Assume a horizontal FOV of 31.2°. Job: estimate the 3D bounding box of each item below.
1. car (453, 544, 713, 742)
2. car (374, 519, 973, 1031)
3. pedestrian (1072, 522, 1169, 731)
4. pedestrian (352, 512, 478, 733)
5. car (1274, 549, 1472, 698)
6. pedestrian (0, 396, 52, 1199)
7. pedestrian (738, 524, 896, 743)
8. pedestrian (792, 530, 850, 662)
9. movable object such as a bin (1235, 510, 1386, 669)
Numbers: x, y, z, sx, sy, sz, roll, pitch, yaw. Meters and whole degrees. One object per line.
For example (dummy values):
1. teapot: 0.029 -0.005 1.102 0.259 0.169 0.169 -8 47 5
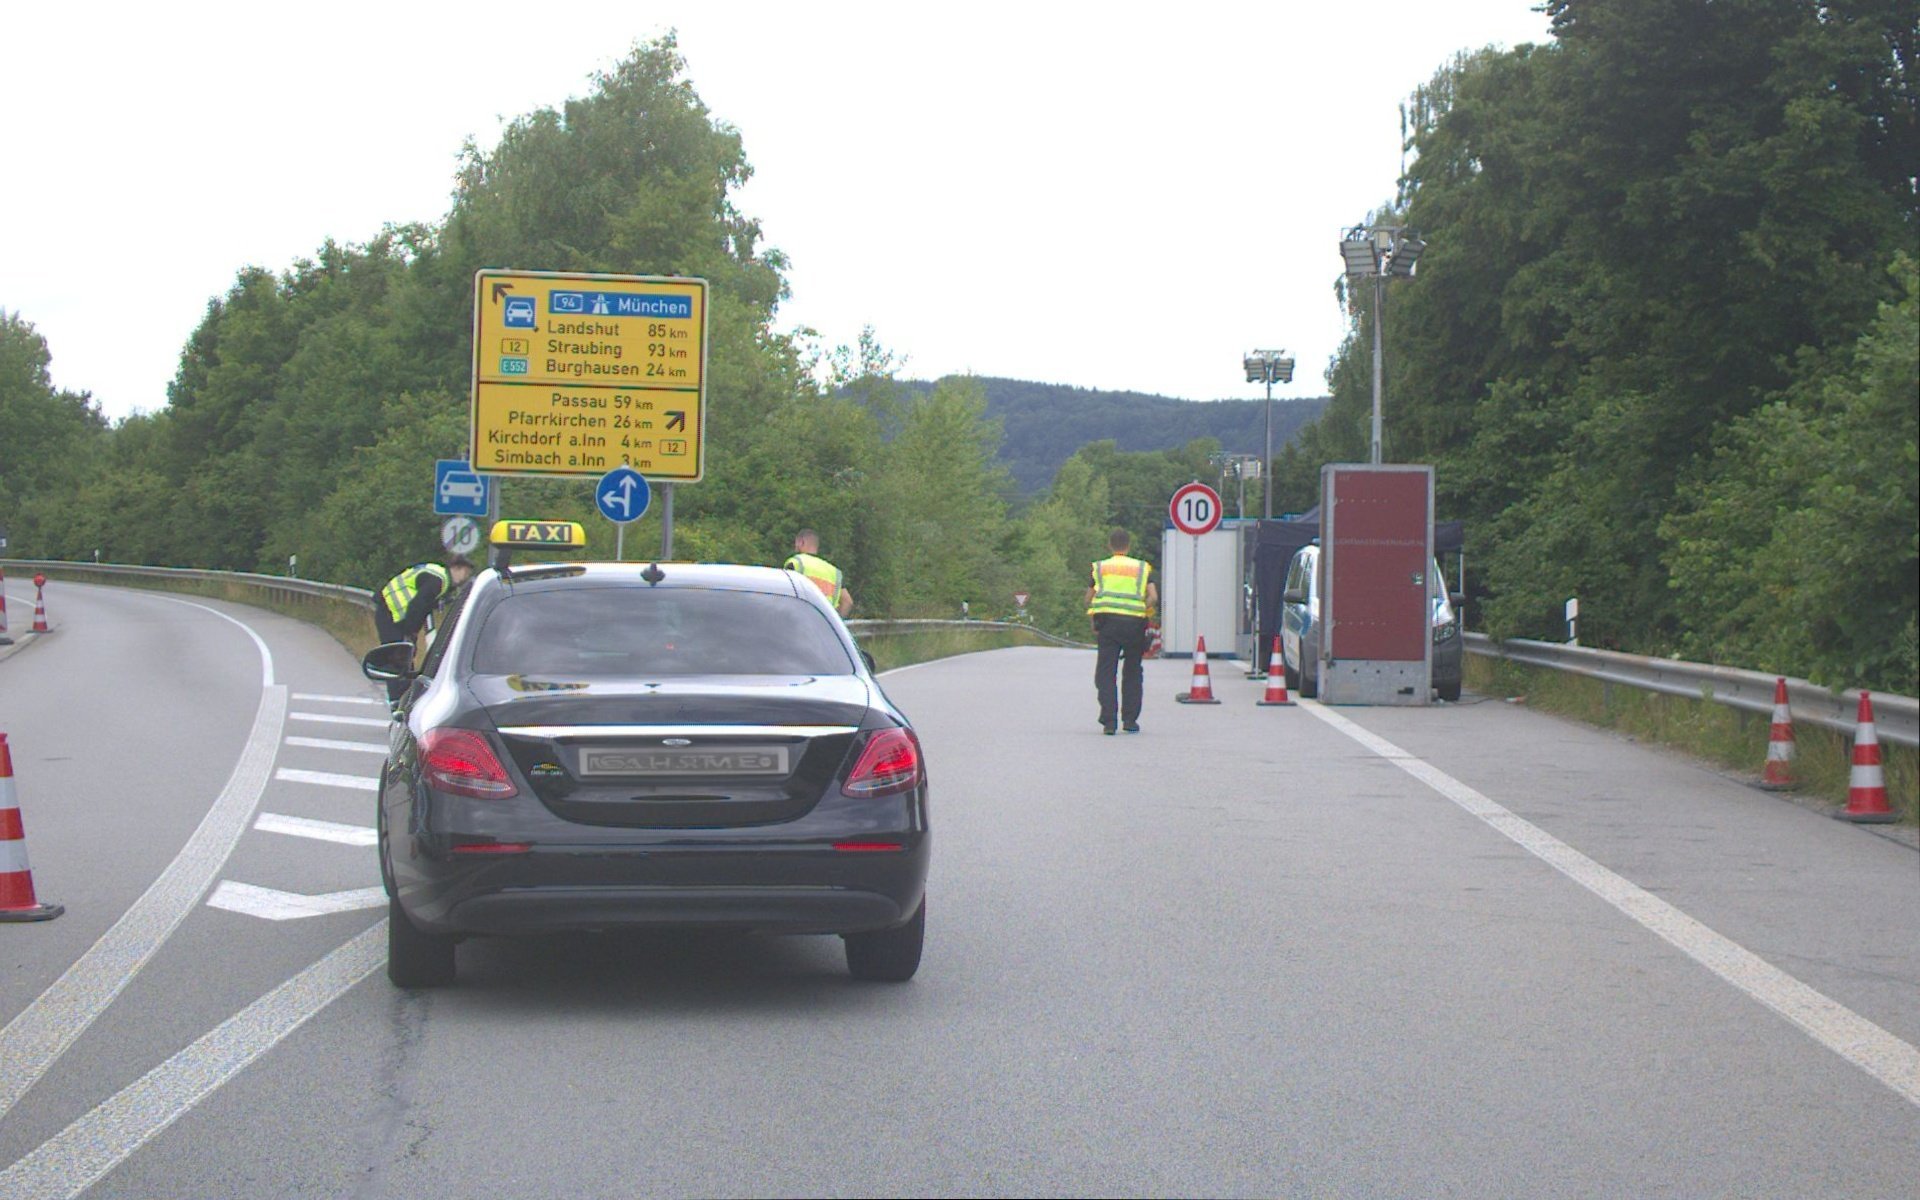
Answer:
1. car: -3.002 0.293 28.116 1.855 1.493 4.257 0 1 -3
2. car: -1.258 0.510 12.991 1.855 1.589 4.377 0 1 -10
3. pedestrian: 1.416 0.225 30.395 0.812 1.824 0.809 0 1 0
4. pedestrian: -4.439 0.173 28.032 0.910 1.763 0.912 0 1 -3
5. car: 5.082 0.241 42.882 1.916 1.672 5.083 2 1 1
6. pedestrian: -1.947 0.548 5.194 0.761 1.712 0.816 0 1 37
7. pedestrian: -1.132 0.249 27.138 0.908 1.692 0.914 0 1 -31
8. pedestrian: -2.066 -0.061 51.236 0.664 1.954 0.759 0 1 16
9. movable object such as a bin: 5.223 -0.185 51.720 1.994 2.272 4.168 0 1 2
